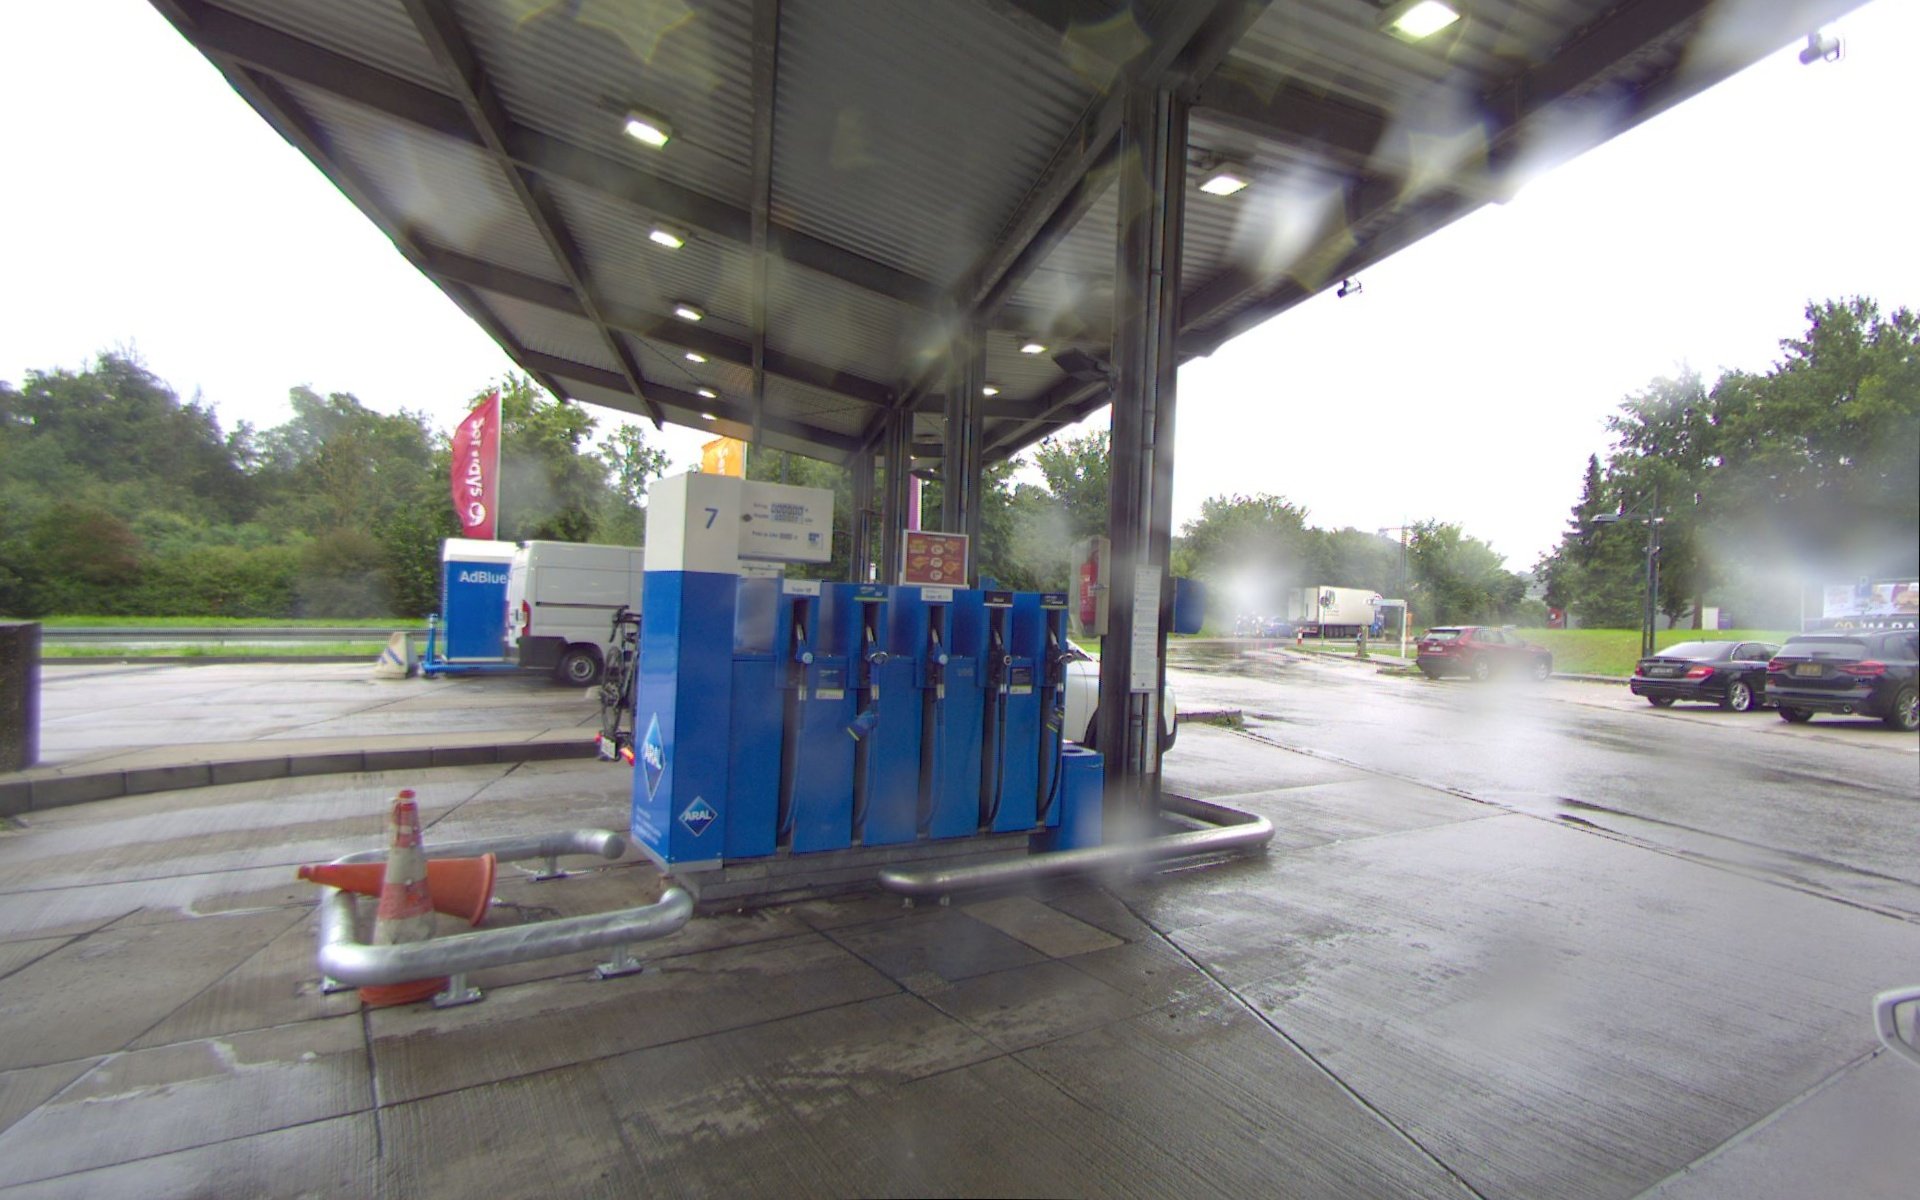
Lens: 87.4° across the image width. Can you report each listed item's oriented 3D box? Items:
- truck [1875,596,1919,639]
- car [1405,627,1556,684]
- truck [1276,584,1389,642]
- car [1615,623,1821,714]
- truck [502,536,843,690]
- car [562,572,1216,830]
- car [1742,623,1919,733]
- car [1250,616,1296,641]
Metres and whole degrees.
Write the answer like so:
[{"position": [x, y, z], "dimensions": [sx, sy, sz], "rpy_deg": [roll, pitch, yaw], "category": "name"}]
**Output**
[{"position": [68.849, 1.314, 71.702], "dimensions": [5.285, 2.959, 2.191], "rpy_deg": [2, 0, -5], "category": "truck"}, {"position": [16.073, 1.666, 31.001], "dimensions": [4.283, 1.666, 1.933], "rpy_deg": [1, -2, -25], "category": "car"}, {"position": [31.873, 1.176, 85.151], "dimensions": [3.498, 4.397, 16.922], "rpy_deg": [2, 0, 40], "category": "truck"}, {"position": [15.938, 1.354, 21.090], "dimensions": [4.293, 1.734, 2.007], "rpy_deg": [1, -2, -31], "category": "car"}, {"position": [-5.341, 0.291, 18.938], "dimensions": [5.793, 2.527, 2.221], "rpy_deg": [2, 0, -30], "category": "truck"}, {"position": [-0.428, 0.700, 8.457], "dimensions": [5.210, 1.629, 1.852], "rpy_deg": [2, 0, -30], "category": "car"}, {"position": [16.169, 1.269, 17.467], "dimensions": [4.274, 1.734, 2.016], "rpy_deg": [1, -1, -18], "category": "car"}, {"position": [22.898, 2.054, 73.436], "dimensions": [1.787, 1.704, 3.934], "rpy_deg": [2, 0, 40], "category": "car"}]
